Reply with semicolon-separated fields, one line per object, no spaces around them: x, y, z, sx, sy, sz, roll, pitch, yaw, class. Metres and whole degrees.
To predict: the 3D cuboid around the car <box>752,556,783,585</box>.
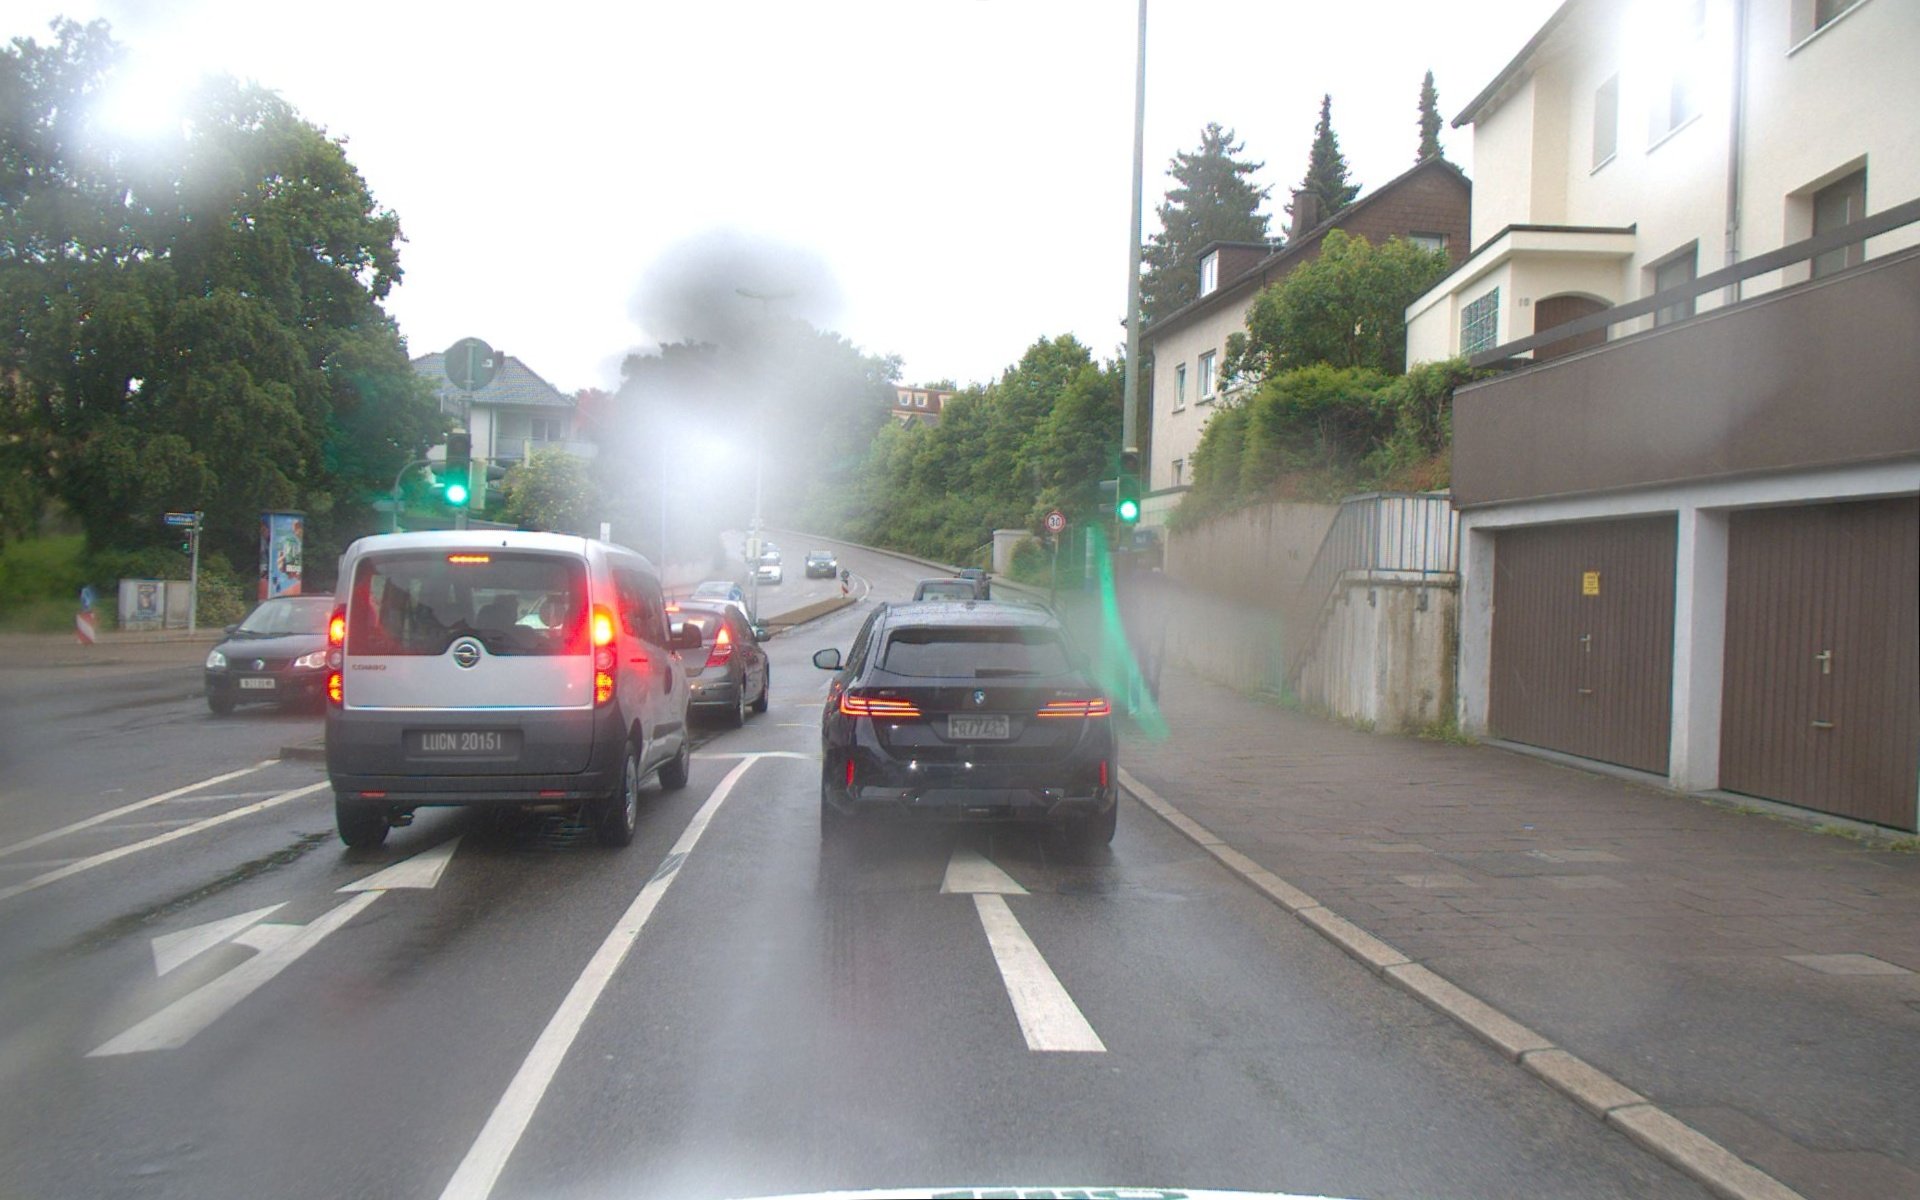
-11.501;-1.738;99.026;1.788;1.686;4.461;0;0;-6;car

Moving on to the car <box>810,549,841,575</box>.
-8.539;-2.394;104.842;1.806;1.579;4.378;0;0;-6;car

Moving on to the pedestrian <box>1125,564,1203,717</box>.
2.476;0.487;20.166;0.777;1.811;1.011;-1;-1;-1;pedestrian

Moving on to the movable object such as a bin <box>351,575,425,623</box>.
-20.164;-0.046;58.353;2.014;1.596;1.582;0;2;4;movable object such as a bin

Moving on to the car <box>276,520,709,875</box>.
-2.878;0.522;11.316;1.913;1.903;4.742;0;0;-4;car

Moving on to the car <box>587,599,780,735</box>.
-3.321;0.764;20.586;1.798;1.513;4.058;0;0;-1;car

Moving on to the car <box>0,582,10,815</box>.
-6.952;0.631;8.869;1.678;1.529;3.995;1;0;-5;car

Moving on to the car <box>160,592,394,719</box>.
-8.783;0.652;21.621;1.818;1.489;3.993;1;0;-8;car

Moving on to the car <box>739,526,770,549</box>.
-19.850;-6.030;159.723;1.967;2.049;3.971;0;0;-24;car

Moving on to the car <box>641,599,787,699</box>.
-4.075;0.773;28.098;1.869;1.555;4.650;0;0;-1;car

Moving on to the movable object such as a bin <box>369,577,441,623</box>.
-20.084;-0.020;59.891;2.014;1.596;1.582;0;2;4;movable object such as a bin

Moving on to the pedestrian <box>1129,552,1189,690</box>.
3.006;0.314;25.037;0.781;2.049;0.734;1;-1;-1;pedestrian

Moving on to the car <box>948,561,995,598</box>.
0.515;-1.020;81.024;1.816;1.691;3.995;1;1;-6;car

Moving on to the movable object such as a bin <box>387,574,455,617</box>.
-19.988;-0.168;61.367;2.014;1.541;1.345;0;2;4;movable object such as a bin

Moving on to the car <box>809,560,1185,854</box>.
0.017;0.663;11.605;1.956;1.614;4.655;2;-1;-7;car

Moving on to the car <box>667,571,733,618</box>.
-9.129;-0.169;58.322;1.954;1.601;3.996;0;-1;-4;car

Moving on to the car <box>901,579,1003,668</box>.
-0.228;0.469;34.987;1.954;1.779;3.997;0;0;-3;car
